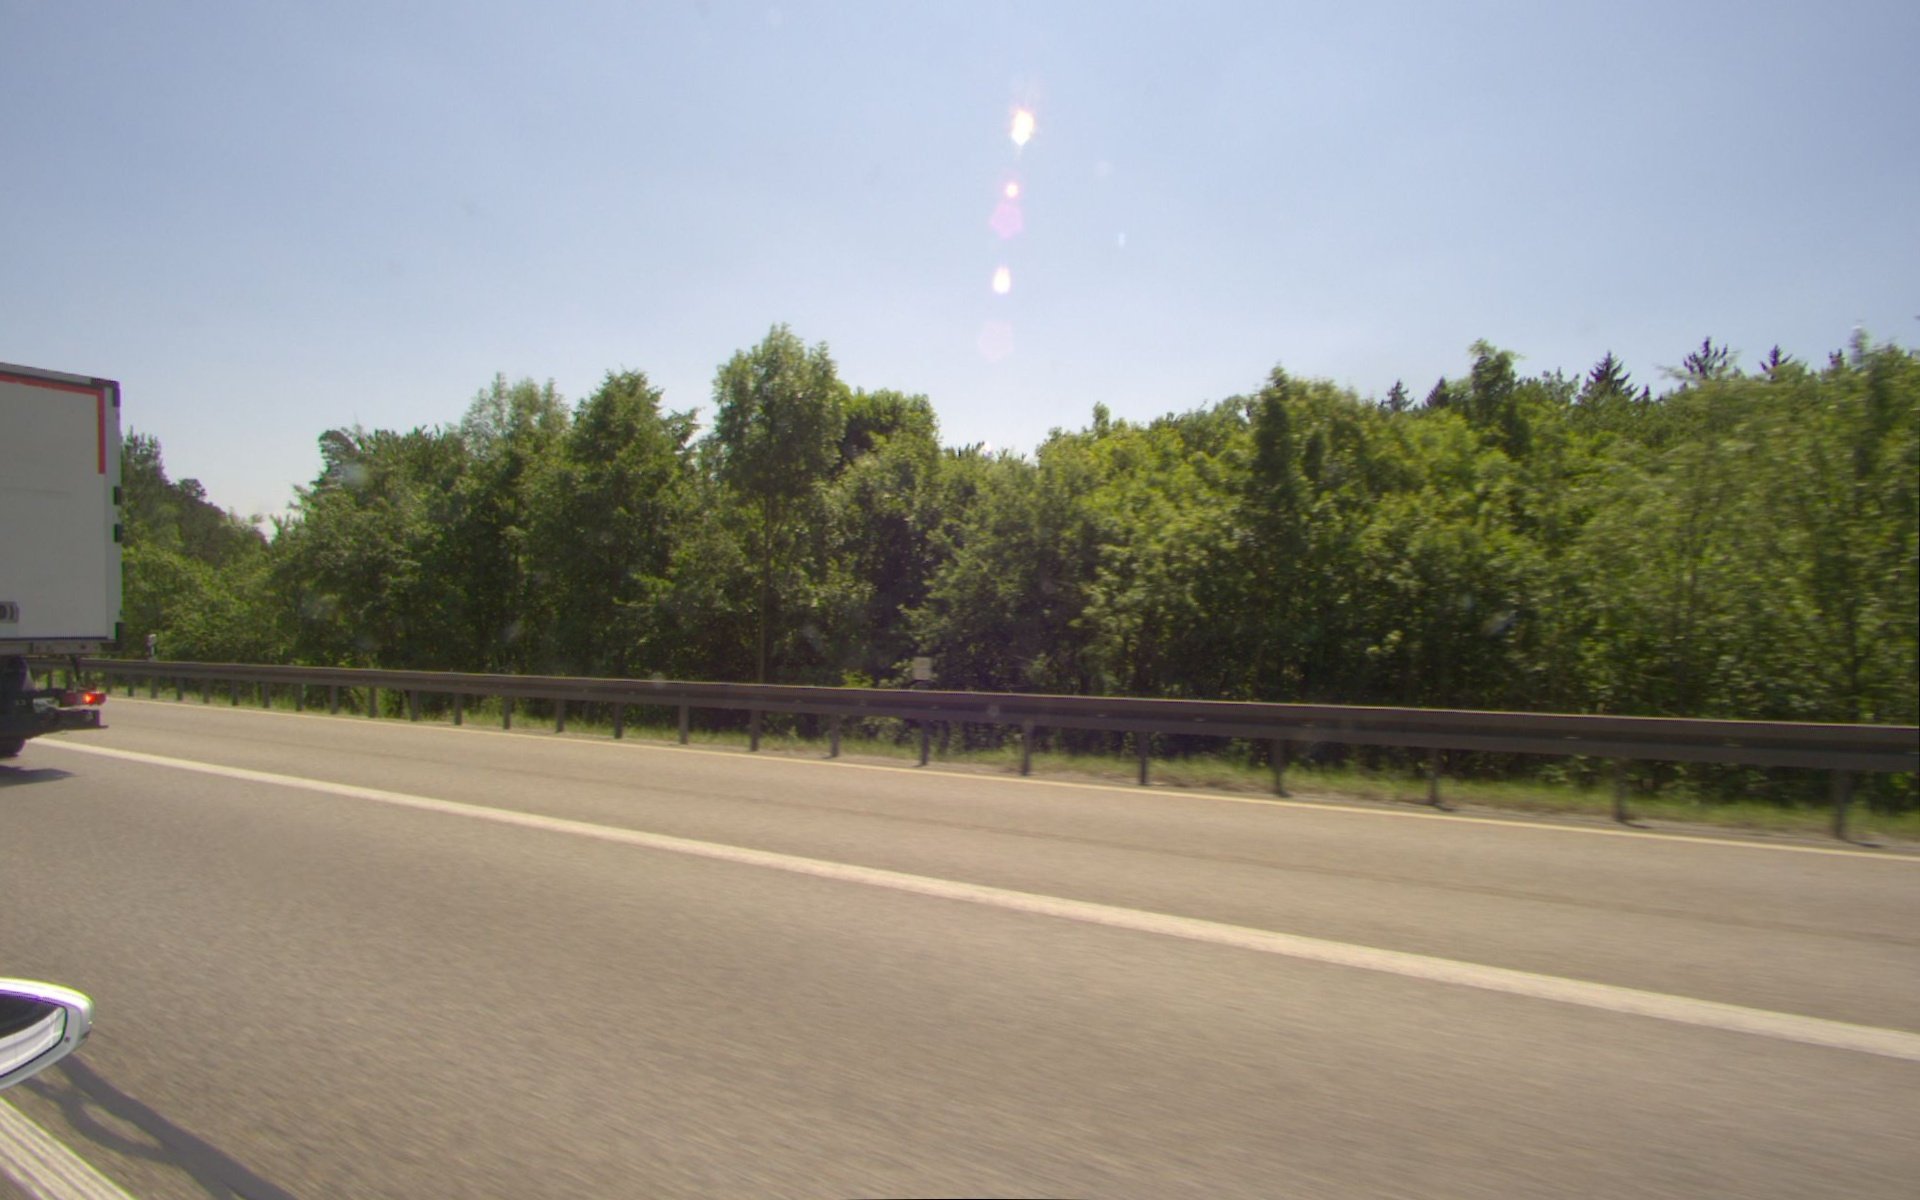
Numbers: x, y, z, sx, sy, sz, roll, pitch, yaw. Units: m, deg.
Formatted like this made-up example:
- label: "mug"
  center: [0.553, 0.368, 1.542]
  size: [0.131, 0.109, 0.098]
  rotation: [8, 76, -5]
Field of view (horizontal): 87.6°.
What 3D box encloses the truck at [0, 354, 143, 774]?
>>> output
- label: "truck"
  center: [-13.201, -0.267, 11.727]
  size: [9.642, 3.929, 2.681]
  rotation: [-1, 2, 33]
